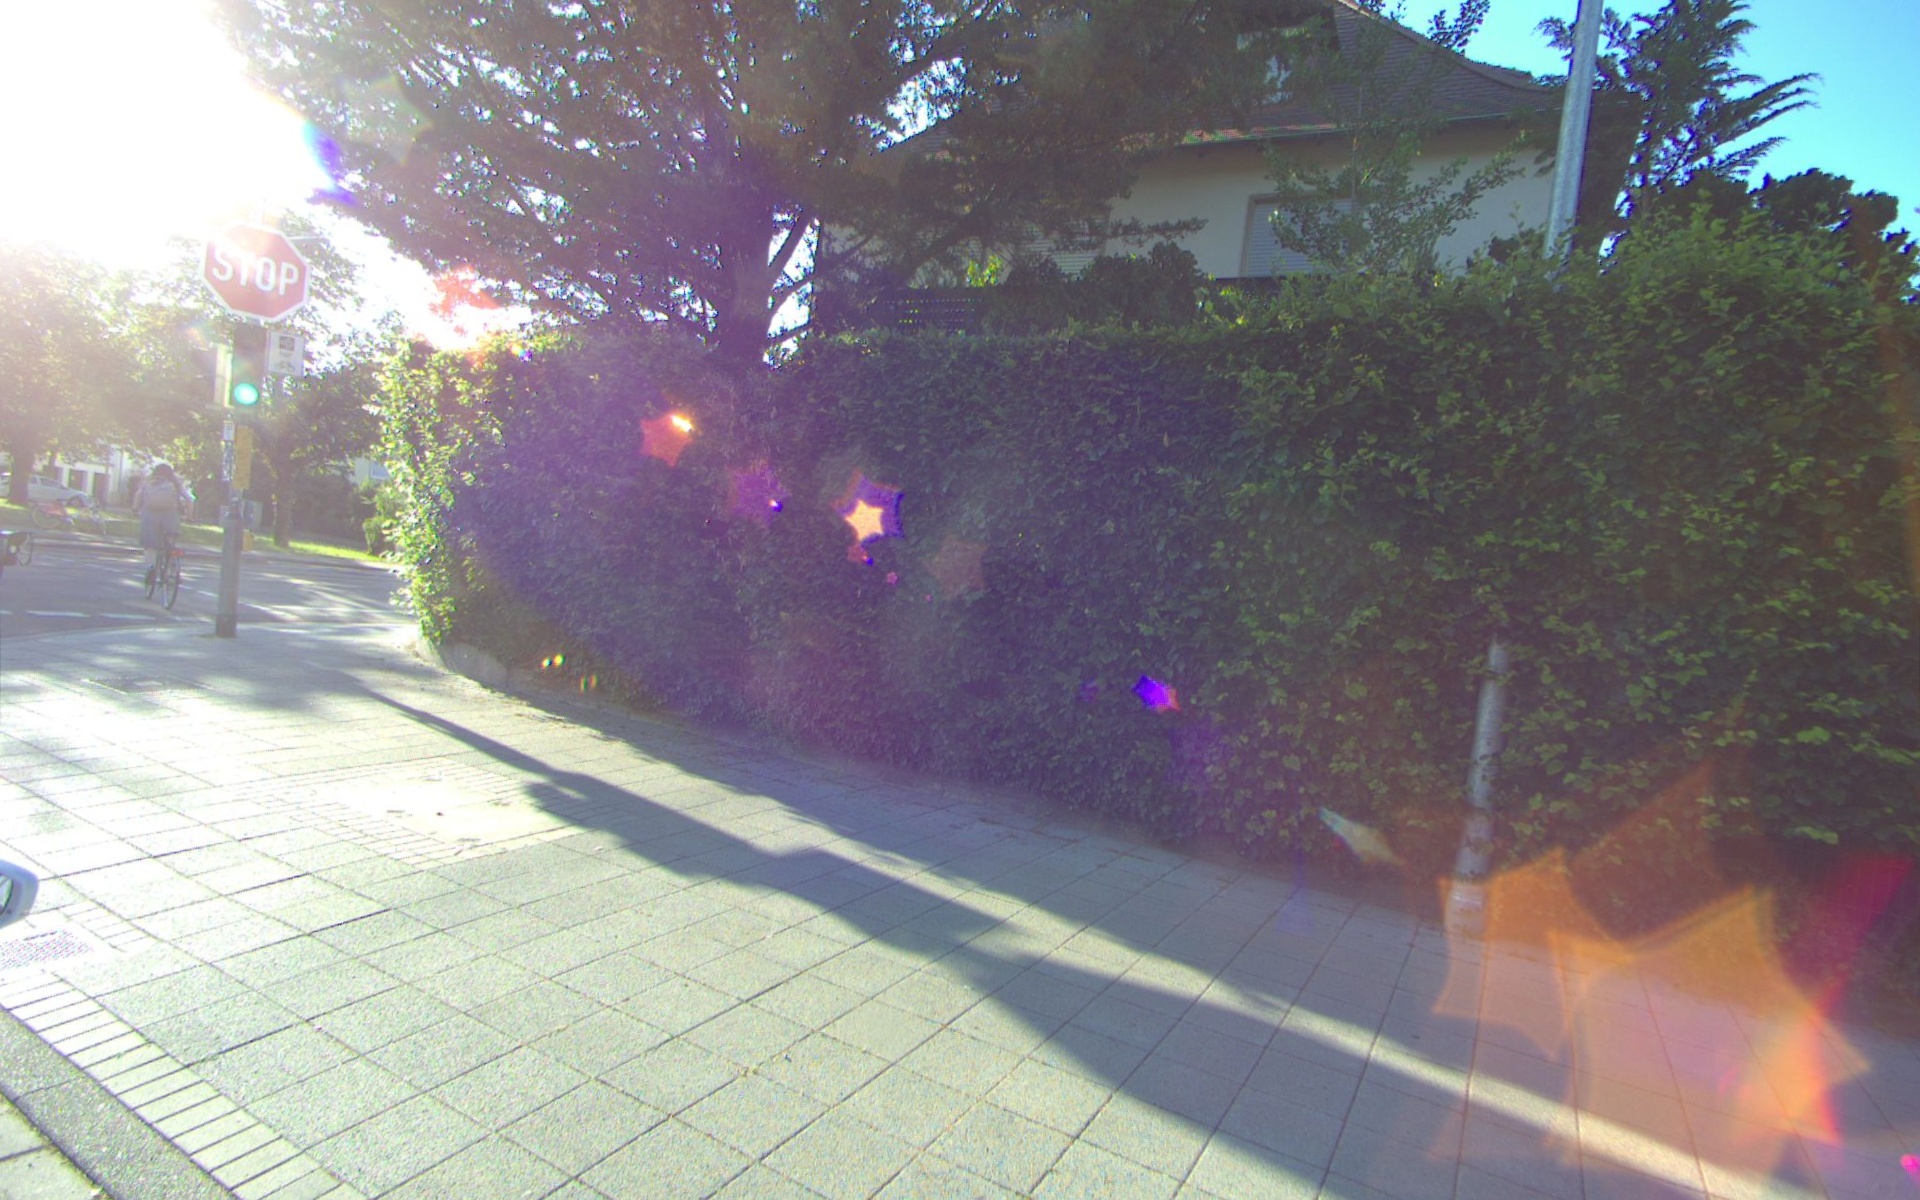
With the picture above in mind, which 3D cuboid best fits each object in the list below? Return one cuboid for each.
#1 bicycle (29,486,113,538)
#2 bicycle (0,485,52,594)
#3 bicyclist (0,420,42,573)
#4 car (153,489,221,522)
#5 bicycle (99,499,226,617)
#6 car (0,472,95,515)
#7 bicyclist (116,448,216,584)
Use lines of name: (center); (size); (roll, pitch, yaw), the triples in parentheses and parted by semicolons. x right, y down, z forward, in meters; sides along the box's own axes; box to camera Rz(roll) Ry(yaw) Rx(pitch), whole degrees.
bicycle: (-23.187, -2.284, 26.258); (0.460, 1.103, 1.521); (11, 3, 39)
bicycle: (-11.777, -0.805, 11.835); (1.869, 1.197, 0.575); (7, -1, 14)
bicyclist: (-11.656, -1.269, 11.781); (0.877, 1.752, 0.818); (7, -1, 14)
car: (-47.219, -5.760, 61.546); (1.971, 1.571, 3.982); (7, 1, -19)
bicycle: (-10.182, -0.553, 12.814); (1.930, 1.198, 0.492); (10, 1, 31)
car: (-46.266, -5.349, 50.500); (1.497, 1.542, 3.933); (6, -2, 25)
bicyclist: (-10.148, -1.060, 12.860); (0.881, 1.580, 0.711); (6, -1, 42)
